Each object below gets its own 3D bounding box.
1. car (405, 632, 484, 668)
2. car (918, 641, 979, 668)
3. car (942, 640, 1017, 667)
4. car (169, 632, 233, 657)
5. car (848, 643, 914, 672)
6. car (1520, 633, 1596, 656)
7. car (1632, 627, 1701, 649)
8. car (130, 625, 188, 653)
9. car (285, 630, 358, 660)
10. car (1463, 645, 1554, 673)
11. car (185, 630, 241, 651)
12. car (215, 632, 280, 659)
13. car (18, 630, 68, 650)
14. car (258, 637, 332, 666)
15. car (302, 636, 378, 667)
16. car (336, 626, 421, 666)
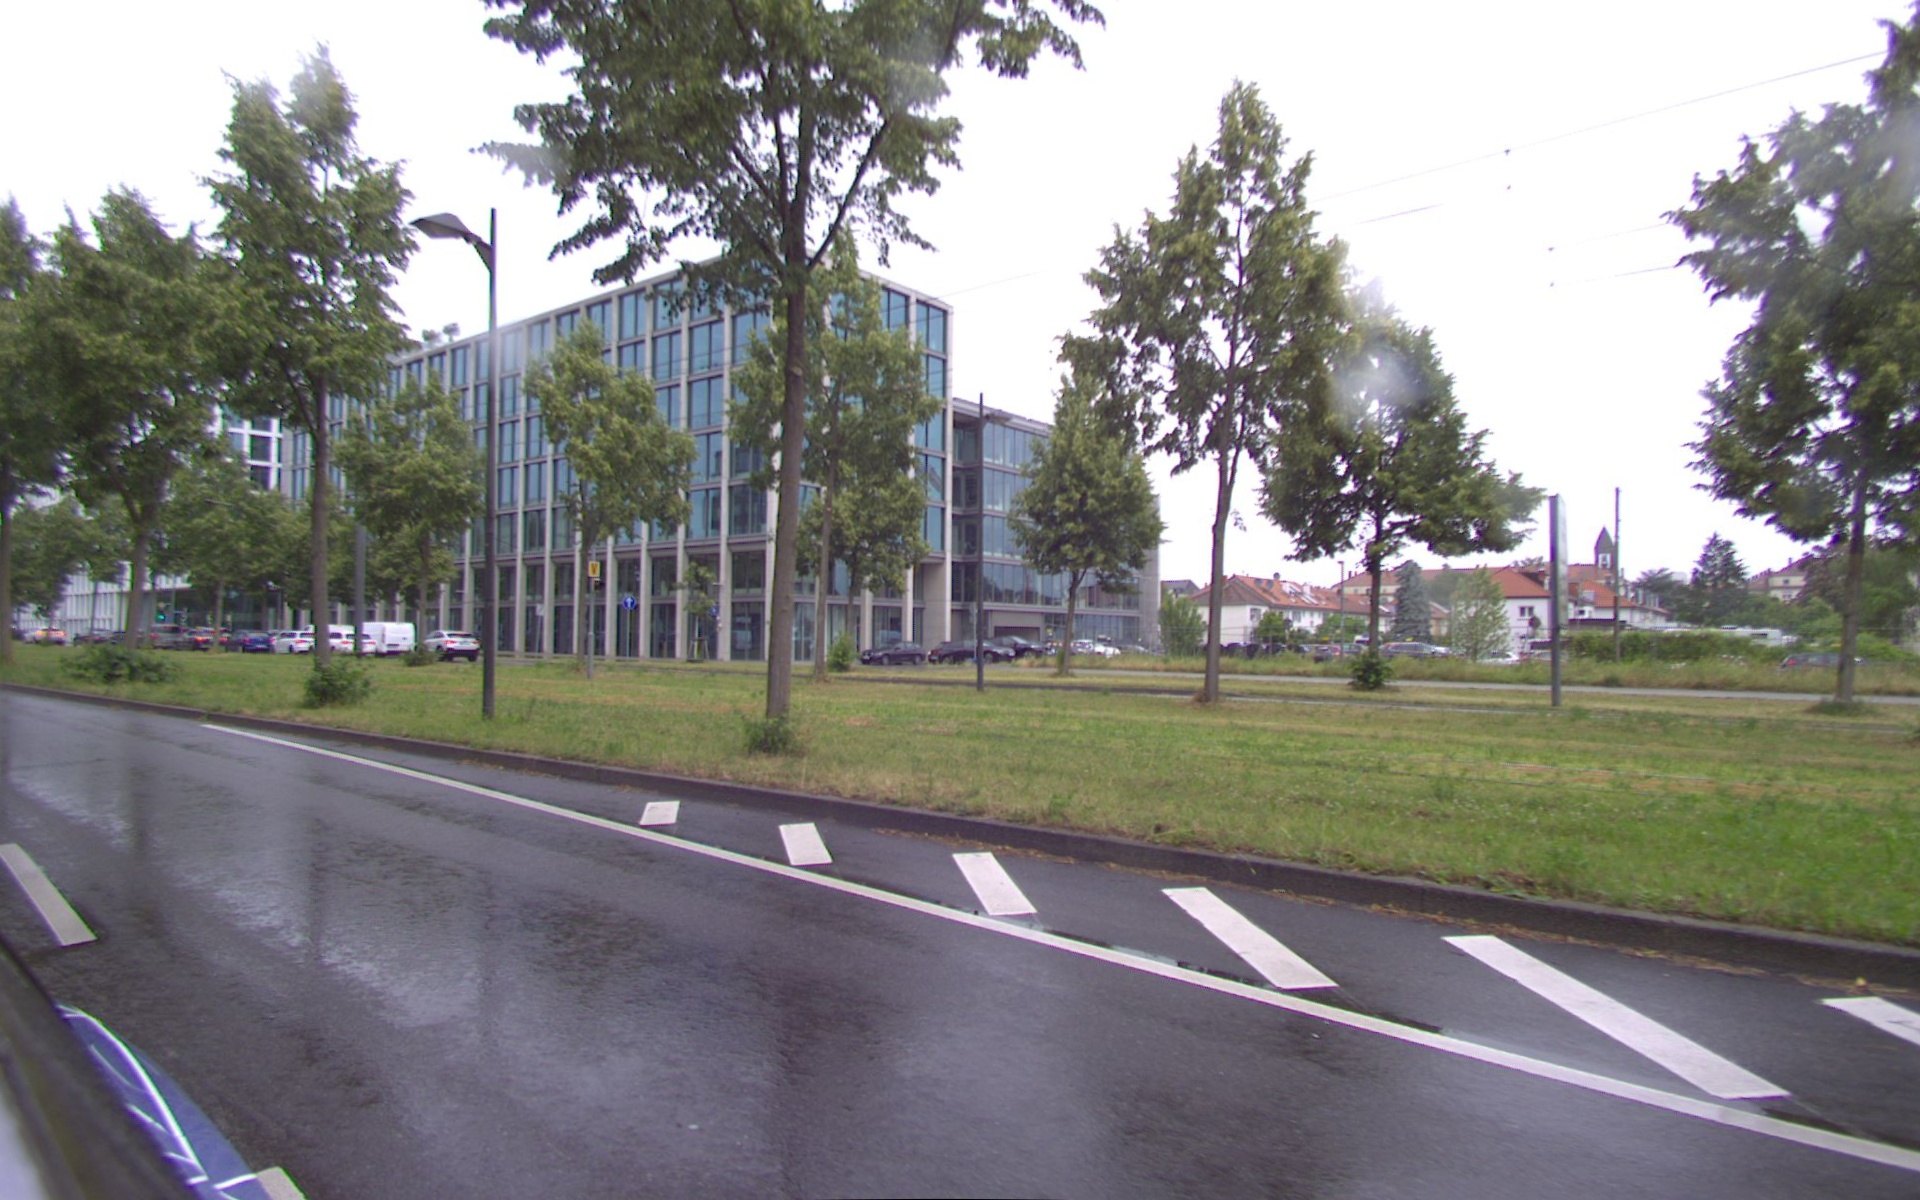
[{"bbox_3d":[-26.475,2.504,51.888,4.571,1.762,1.931,-1,-2,39],"label":"car"},{"bbox_3d":[-0.722,3.512,65.648,1.743,1.621,4.105,-4,-4,39],"label":"car"},{"bbox_3d":[0.957,2.745,51.685,3.654,1.249,1.486,-4,-4,38],"label":"car"},{"bbox_3d":[-48.507,2.846,64.662,4.594,1.396,1.934,-4,-4,35],"label":"car"},{"bbox_3d":[-4.684,3.418,60.319,1.743,1.621,3.751,-4,-4,39],"label":"car"},{"bbox_3d":[38.294,2.874,64.821,3.900,1.360,1.672,-5,-4,41],"label":"car"},{"bbox_3d":[42.761,2.293,61.270,3.245,1.208,1.175,-5,-4,42],"label":"car"},{"bbox_3d":[-55.247,2.717,69.806,4.533,1.863,1.933,-3,-3,36],"label":"car"},{"bbox_3d":[-38.998,2.769,61.776,5.016,1.664,1.934,-4,-4,34],"label":"car"},{"bbox_3d":[28.650,3.097,52.914,3.900,1.360,1.672,-5,-4,41],"label":"car"},{"bbox_3d":[-53.815,2.921,72.889,4.260,1.396,1.934,-4,-4,34],"label":"car"},{"bbox_3d":[-42.705,2.730,60.639,3.951,1.506,1.934,-4,-4,34],"label":"car"},{"bbox_3d":[-69.109,2.989,76.257,4.566,1.463,1.933,-1,-2,36],"label":"car"},{"bbox_3d":[-37.180,2.828,56.548,4.566,1.525,1.933,-1,-2,36],"label":"car"},{"bbox_3d":[-32.333,2.702,52.745,4.826,1.472,1.931,-4,-4,40],"label":"car"},{"bbox_3d":[-32.745,2.610,56.960,5.363,2.022,2.247,-4,-4,37],"label":"car"}]
